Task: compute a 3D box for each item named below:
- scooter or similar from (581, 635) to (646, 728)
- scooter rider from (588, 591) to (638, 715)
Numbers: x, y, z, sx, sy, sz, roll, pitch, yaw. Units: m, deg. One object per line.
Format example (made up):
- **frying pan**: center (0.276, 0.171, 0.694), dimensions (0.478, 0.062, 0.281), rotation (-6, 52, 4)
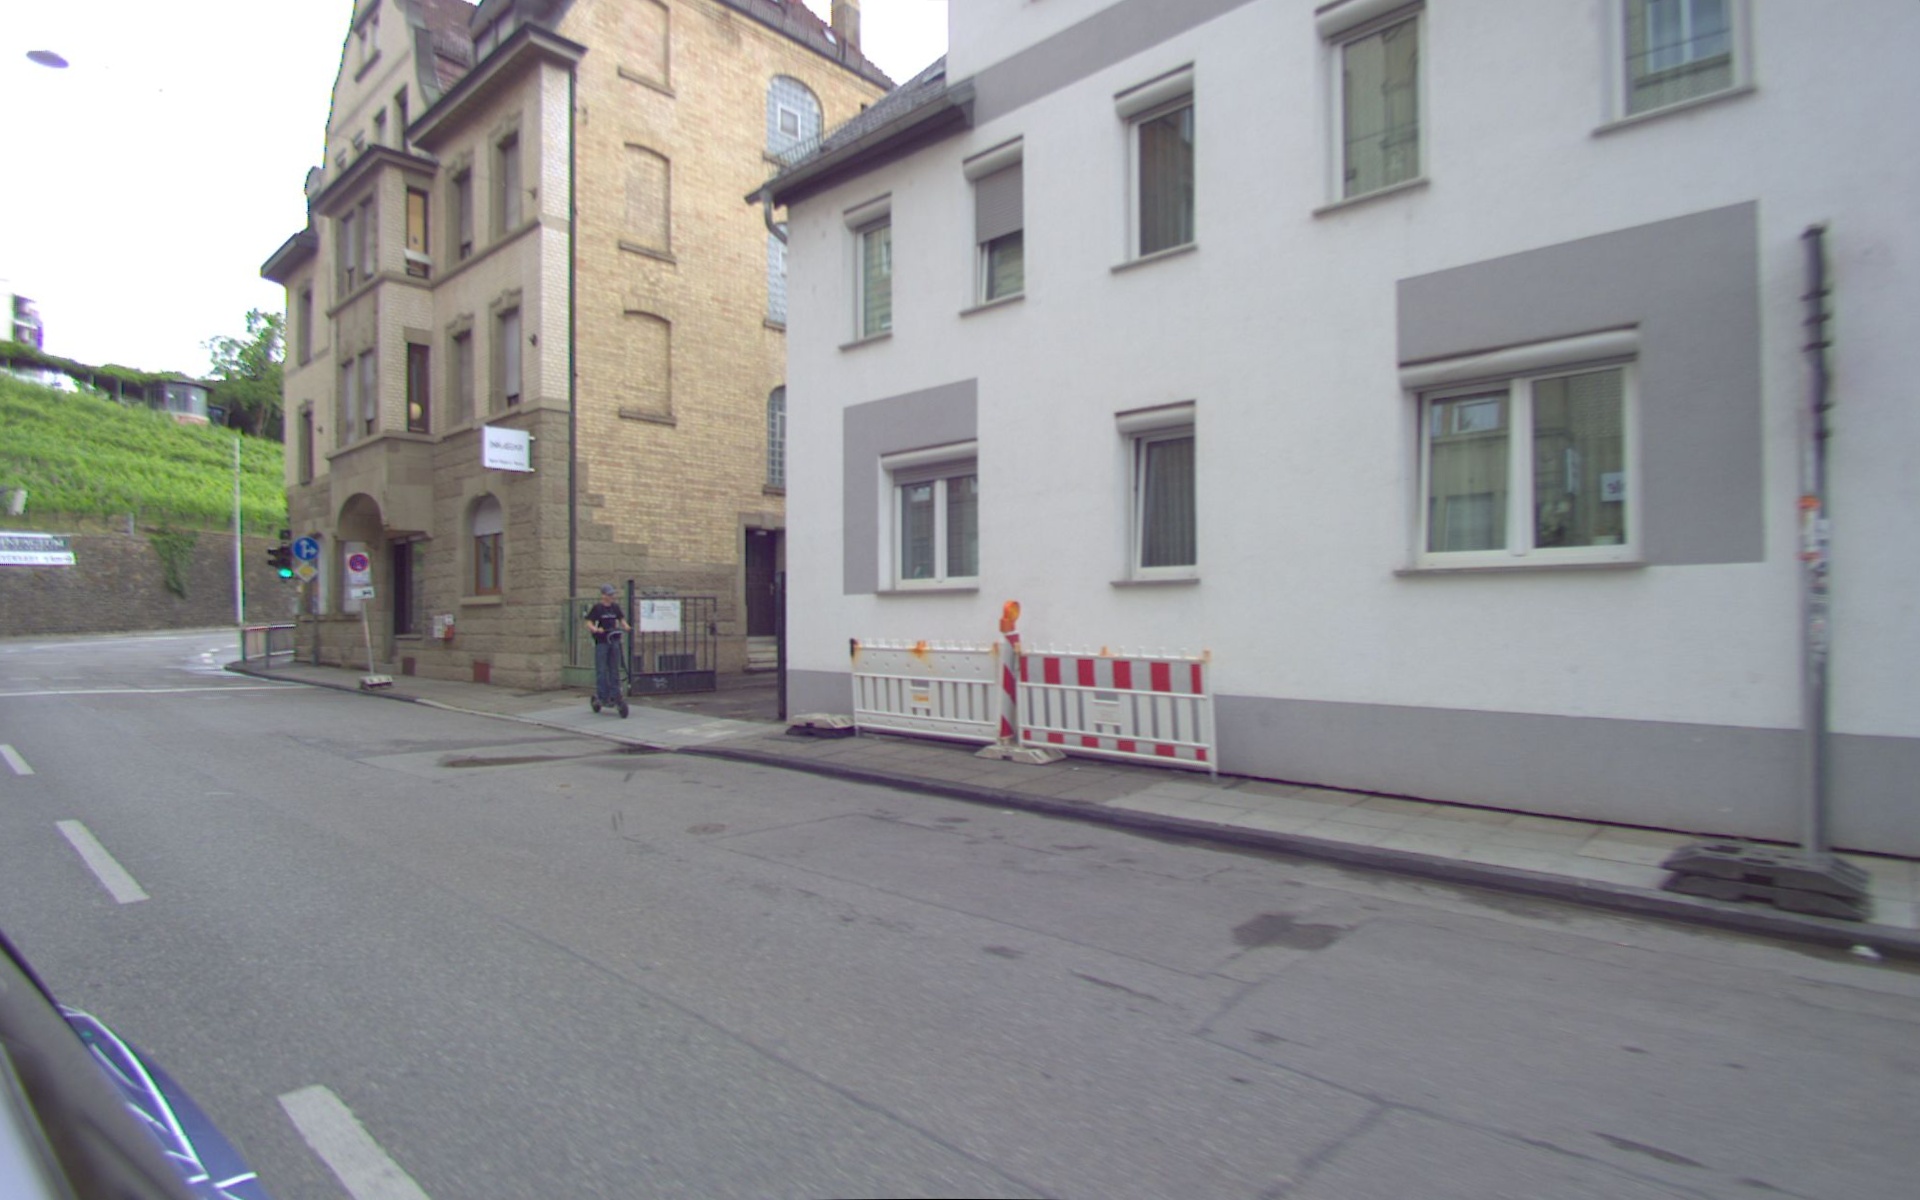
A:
- **scooter or similar**: center (-4.941, 1.127, 14.397), dimensions (0.374, 1.251, 1.227), rotation (0, -1, -45)
- **scooter rider**: center (-4.935, 0.730, 14.389), dimensions (0.482, 1.718, 0.578), rotation (0, 0, -45)
